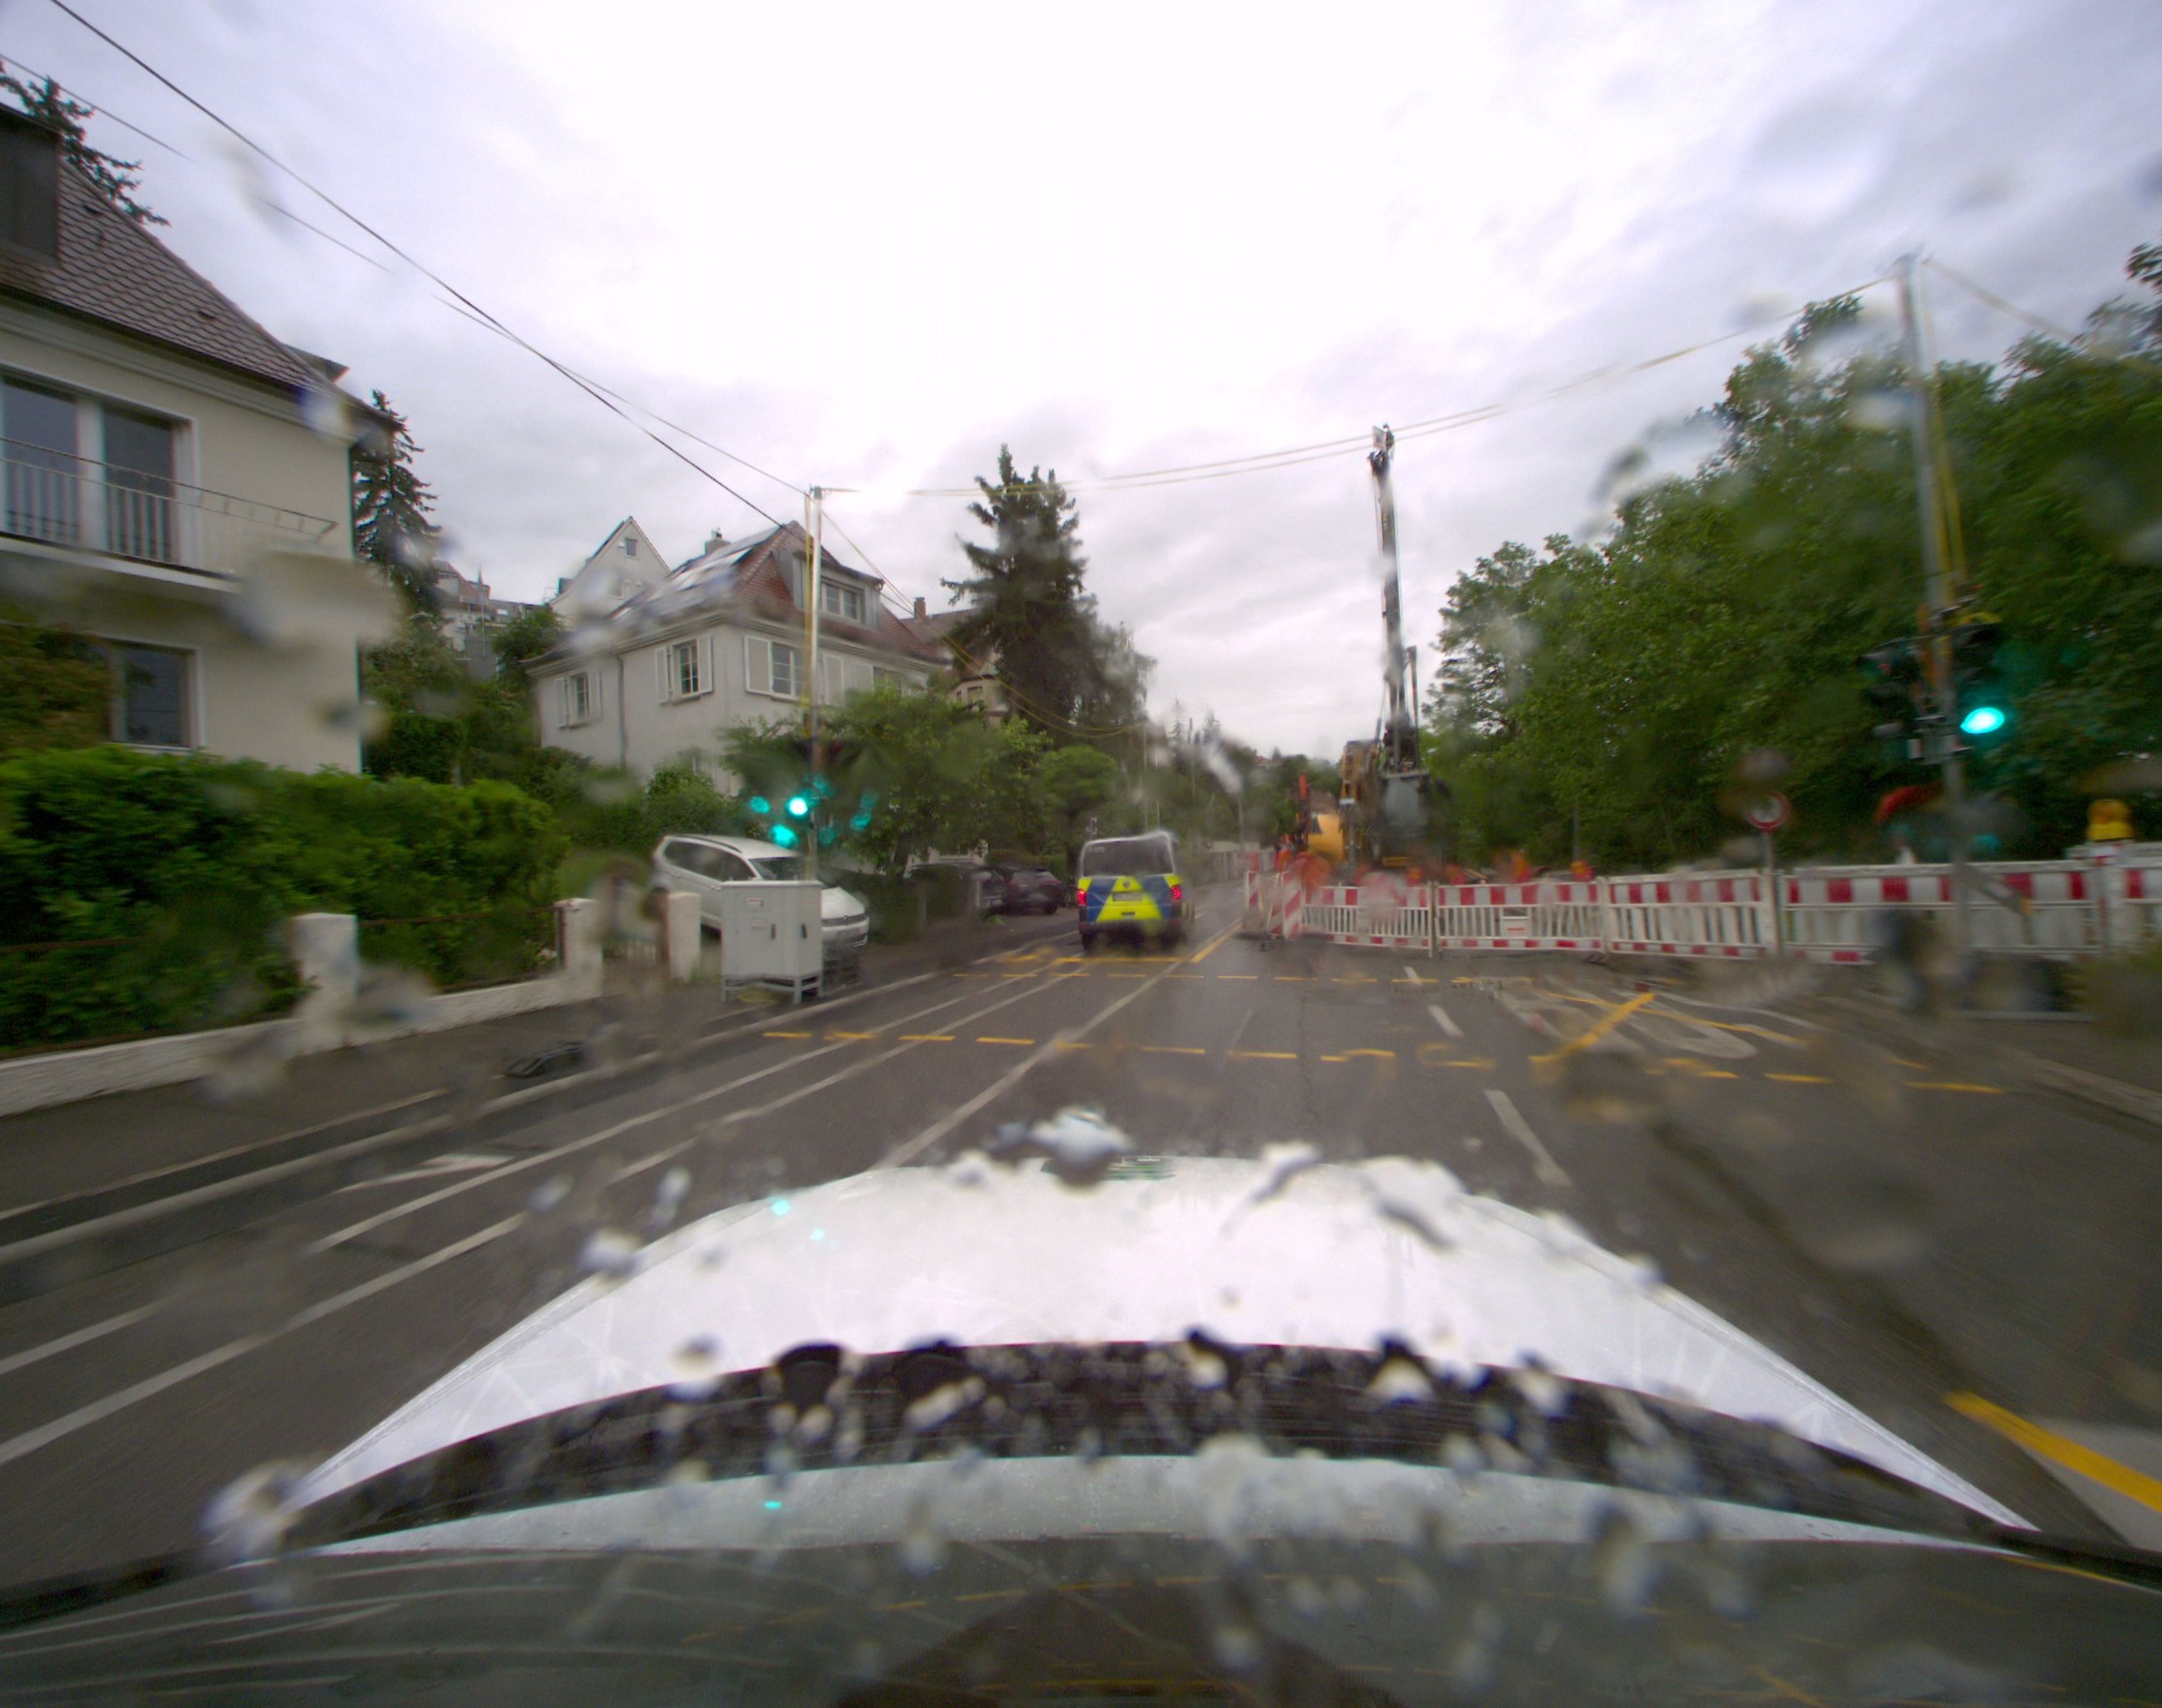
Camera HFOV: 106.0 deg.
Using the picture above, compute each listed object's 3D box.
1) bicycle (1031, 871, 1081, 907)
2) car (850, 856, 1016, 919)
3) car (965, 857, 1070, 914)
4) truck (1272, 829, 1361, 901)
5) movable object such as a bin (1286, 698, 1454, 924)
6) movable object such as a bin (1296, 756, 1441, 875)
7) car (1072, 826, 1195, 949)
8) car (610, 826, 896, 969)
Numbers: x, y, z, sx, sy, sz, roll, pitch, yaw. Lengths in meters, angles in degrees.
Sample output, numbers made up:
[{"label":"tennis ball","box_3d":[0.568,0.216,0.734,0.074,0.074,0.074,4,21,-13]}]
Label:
[{"label":"bicycle","box_3d":[-0.808,1.141,26.338,1.603,1.131,0.446,-2,-2,30]},{"label":"car","box_3d":[-3.964,0.879,21.753,3.950,1.526,1.952,-1,-2,26]},{"label":"car","box_3d":[-1.986,0.898,24.318,1.790,1.526,3.966,0,-1,-26]},{"label":"truck","box_3d":[7.748,0.376,26.833,2.531,2.108,3.318,-3,-2,16]},{"label":"movable object such as a bin","box_3d":[6.291,-0.794,17.845,2.855,4.171,4.509,-3,-1,20]},{"label":"movable object such as a bin","box_3d":[13.974,-1.680,39.284,3.648,5.067,7.205,-5,-3,45]},{"label":"car","box_3d":[1.165,0.611,15.673,1.896,2.011,4.451,-1,-1,9]},{"label":"car","box_3d":[-5.957,0.634,14.655,4.919,1.616,1.875,9,5,27]}]
